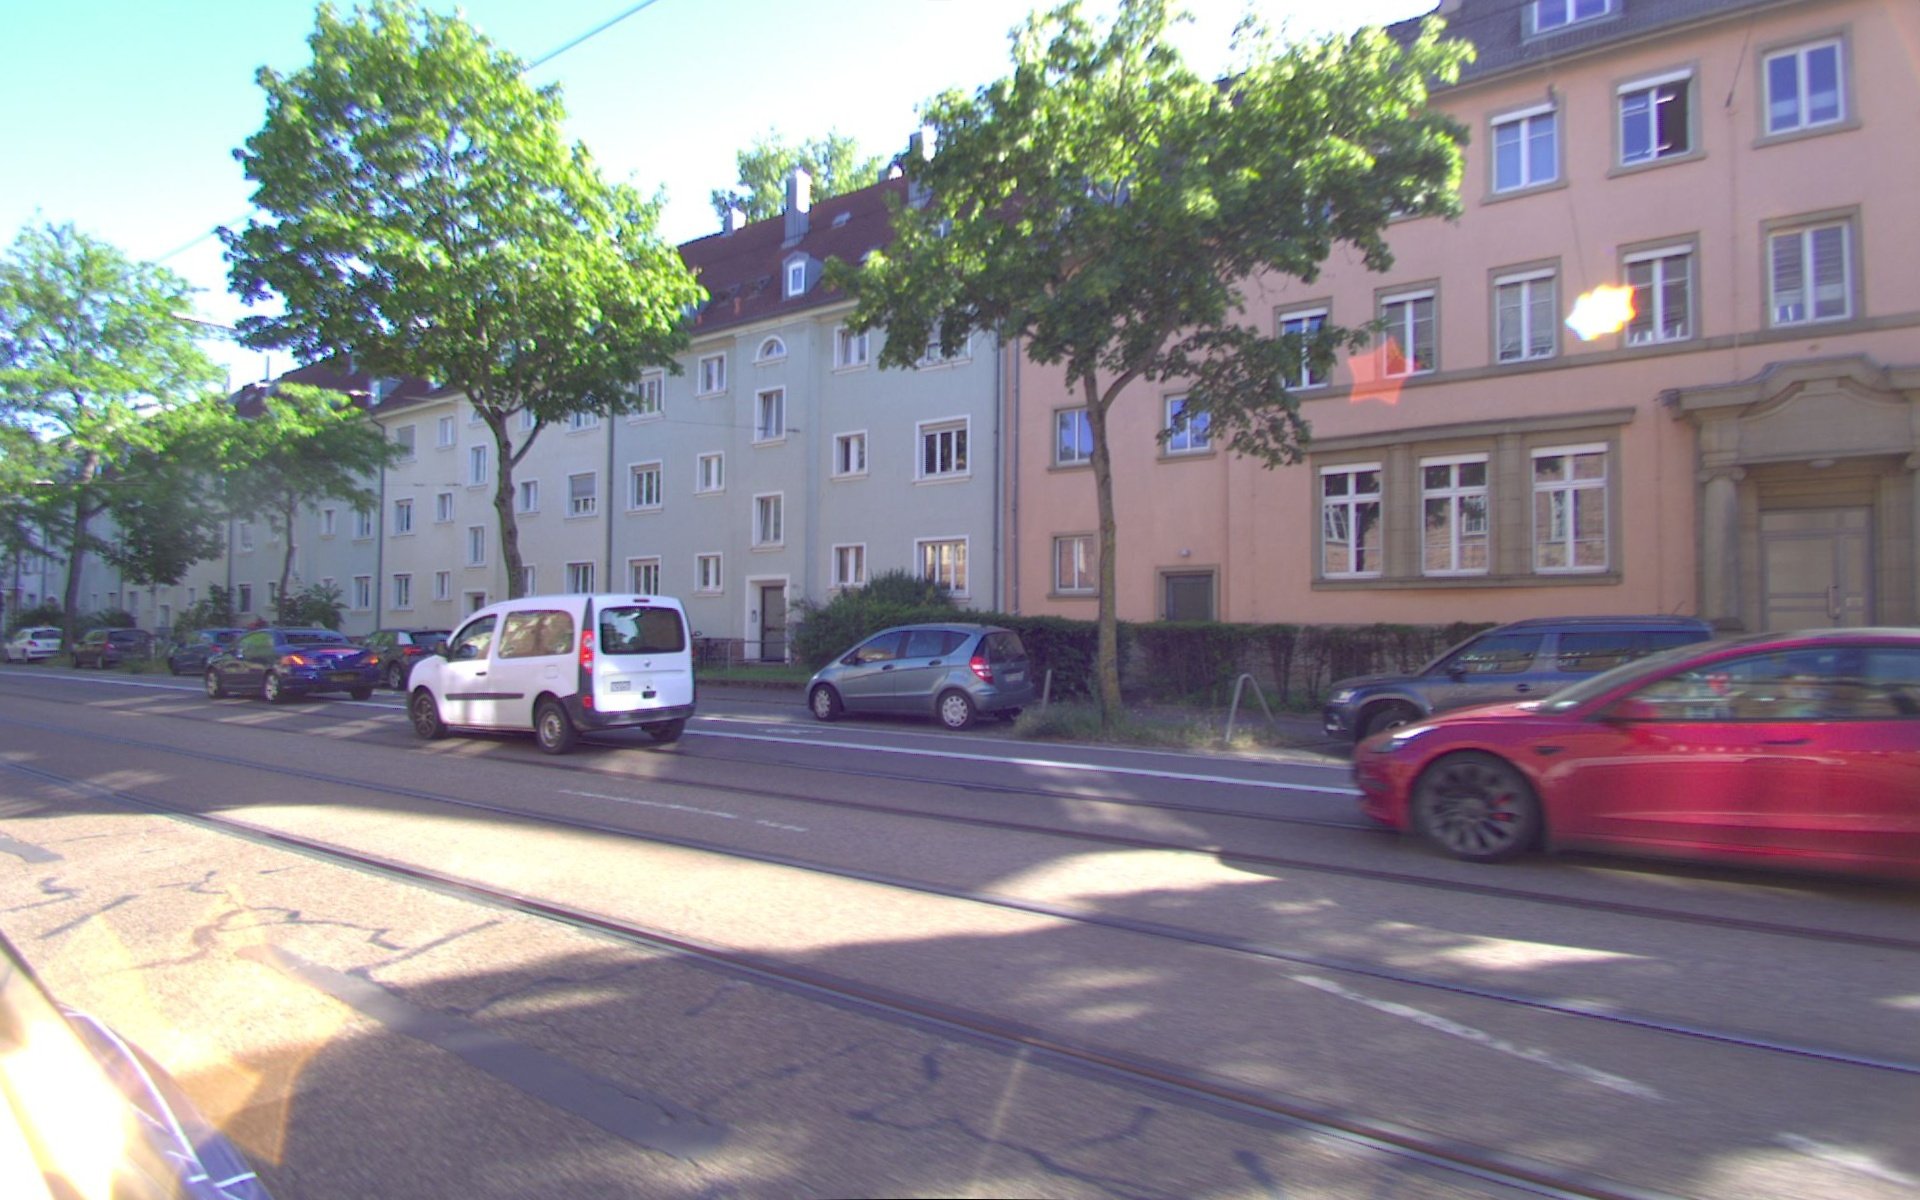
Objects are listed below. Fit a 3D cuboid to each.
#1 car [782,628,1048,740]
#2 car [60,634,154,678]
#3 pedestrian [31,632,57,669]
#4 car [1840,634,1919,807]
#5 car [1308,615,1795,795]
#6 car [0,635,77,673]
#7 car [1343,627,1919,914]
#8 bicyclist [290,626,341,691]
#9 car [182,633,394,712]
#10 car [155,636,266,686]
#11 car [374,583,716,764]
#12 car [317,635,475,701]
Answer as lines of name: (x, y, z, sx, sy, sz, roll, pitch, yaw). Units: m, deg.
car: (-0.772, 1.278, 16.417, 4.055, 1.581, 1.732, -2, -1, 32)
car: (-31.509, 2.041, 37.377, 3.749, 1.496, 1.673, -2, -1, 33)
pedestrian: (-44.980, 2.487, 49.673, 0.811, 1.815, 0.686, -2, -4, 34)
car: (10.288, 1.060, 8.869, 3.598, 1.499, 1.571, -1, -1, 30)
car: (6.363, 1.049, 11.376, 4.373, 1.673, 1.733, -1, -1, 30)
car: (-39.117, 2.240, 42.827, 4.068, 1.496, 1.688, -2, -1, 34)
car: (4.906, 0.886, 5.965, 4.673, 1.398, 1.905, -1, -4, 33)
bicyclist: (-15.010, 1.369, 23.565, 0.866, 1.468, 0.553, -1, -7, 31)
car: (-13.250, 1.378, 19.886, 4.426, 1.398, 1.795, -1, -3, 32)
car: (-23.938, 1.910, 32.288, 3.918, 1.468, 1.548, -2, -1, 32)
car: (-5.266, 0.861, 12.647, 4.429, 1.903, 1.794, -2, -4, 34)
car: (-14.378, 1.667, 25.743, 4.311, 1.502, 1.731, -2, -1, 33)
